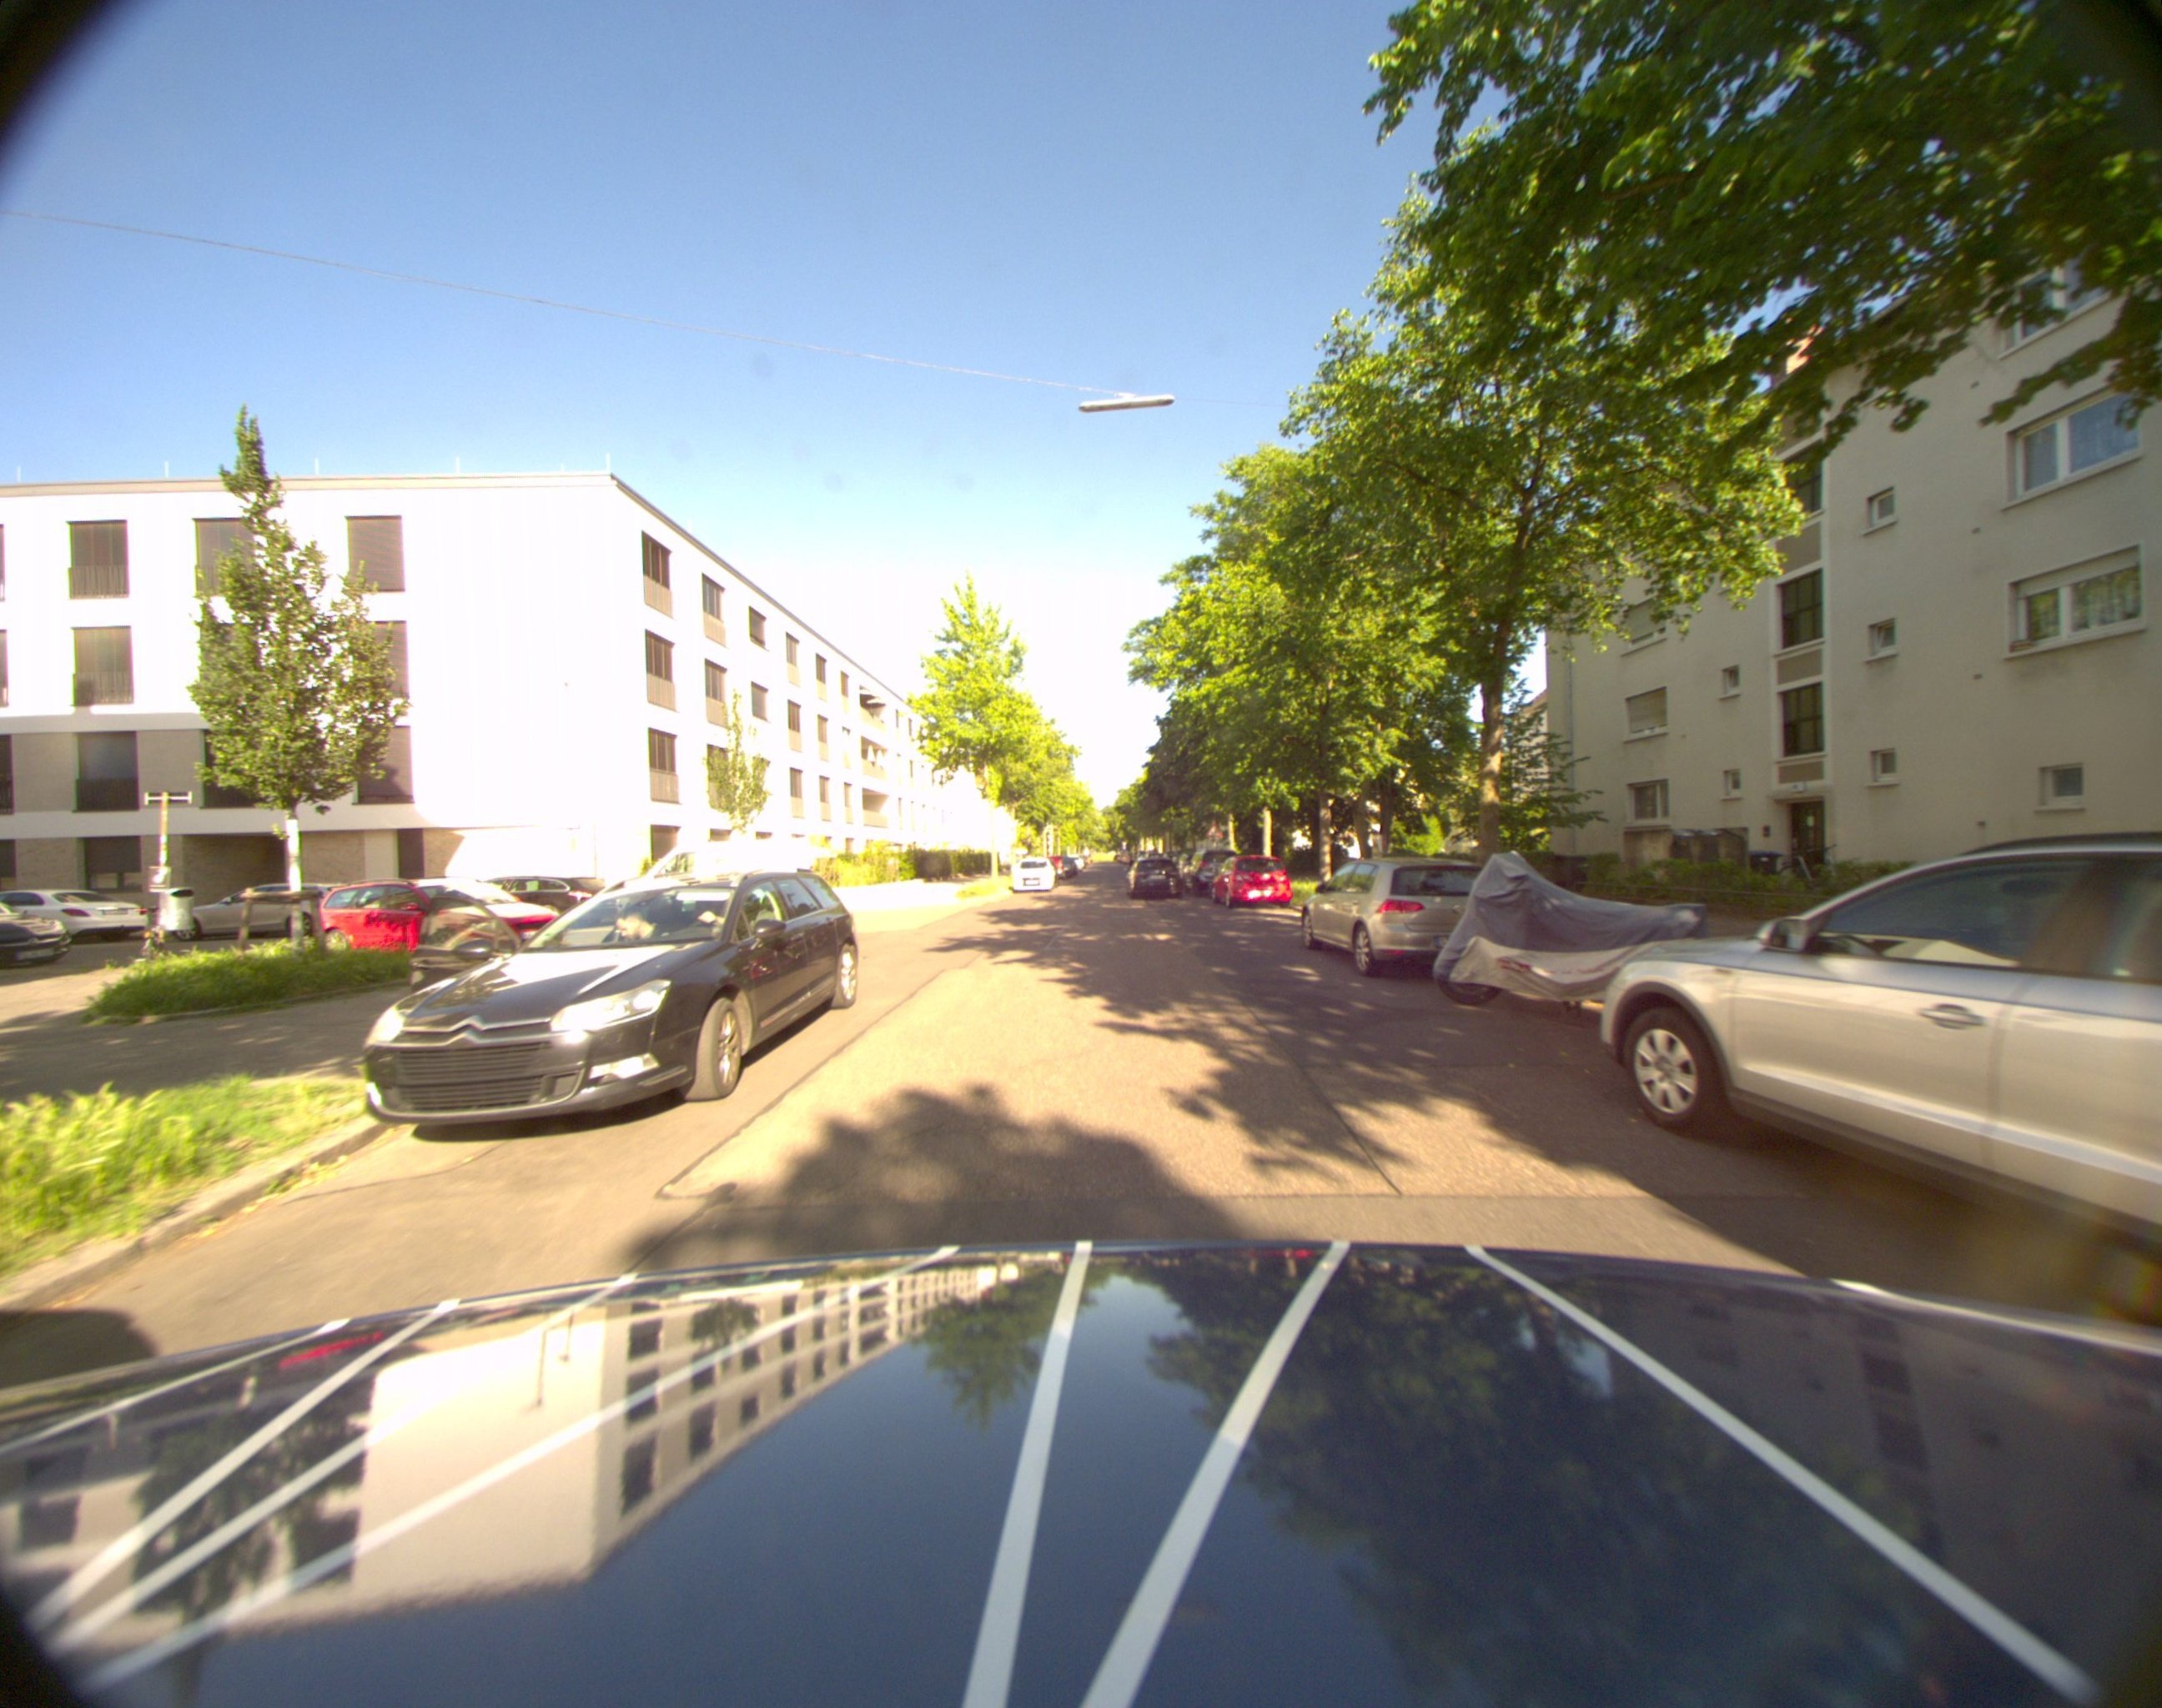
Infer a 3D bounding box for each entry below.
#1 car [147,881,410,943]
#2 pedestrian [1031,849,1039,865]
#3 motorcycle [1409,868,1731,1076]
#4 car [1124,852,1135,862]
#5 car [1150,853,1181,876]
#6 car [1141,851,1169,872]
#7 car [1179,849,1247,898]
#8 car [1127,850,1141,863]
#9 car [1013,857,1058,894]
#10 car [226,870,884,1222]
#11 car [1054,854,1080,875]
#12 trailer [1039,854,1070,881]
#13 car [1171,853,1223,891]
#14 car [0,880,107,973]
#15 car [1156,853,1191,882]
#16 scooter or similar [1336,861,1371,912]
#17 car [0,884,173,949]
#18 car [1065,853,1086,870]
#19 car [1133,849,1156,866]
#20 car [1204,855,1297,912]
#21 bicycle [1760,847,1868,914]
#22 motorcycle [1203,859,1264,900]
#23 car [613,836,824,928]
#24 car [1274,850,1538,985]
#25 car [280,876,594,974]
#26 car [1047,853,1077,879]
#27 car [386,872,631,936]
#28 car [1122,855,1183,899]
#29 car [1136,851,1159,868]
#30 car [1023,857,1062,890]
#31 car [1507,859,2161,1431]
[{"bbox_3d":[-21.200,1.510,20.215,4.940,1.420,1.962,-1,-1,1],"label":"car"},{"bbox_3d":[-5.775,0.387,95.036,0.907,2.002,1.006,-1,1,2],"label":"pedestrian"},{"bbox_3d":[4.267,0.898,6.817,0.991,1.495,2.227,-1,1,-38],"label":"motorcycle"},{"bbox_3d":[7.546,0.453,118.837,1.605,1.382,3.812,-1,0,1],"label":"car"},{"bbox_3d":[5.644,0.692,51.282,1.658,1.496,4.068,-1,0,0],"label":"car"},{"bbox_3d":[5.927,0.555,61.348,1.846,1.647,5.087,-1,0,1],"label":"car"},{"bbox_3d":[4.828,0.660,28.392,1.772,1.678,4.814,-1,0,1],"label":"car"},{"bbox_3d":[7.314,0.326,105.149,1.864,1.718,4.001,0,0,3],"label":"car"},{"bbox_3d":[-2.001,0.899,34.191,1.737,1.478,4.009,-2,0,0],"label":"car"},{"bbox_3d":[-3.265,1.016,6.285,1.900,1.515,4.966,-2,1,0],"label":"car"},{"bbox_3d":[-1.058,0.829,59.995,1.722,1.507,4.345,-2,0,2],"label":"car"},{"bbox_3d":[-1.701,0.840,49.106,1.578,1.569,3.192,-4,0,4],"label":"trailer"},{"bbox_3d":[5.038,0.727,33.626,1.773,1.522,4.420,-1,0,2],"label":"car"},{"bbox_3d":[-21.568,1.378,14.253,4.181,1.631,1.834,-1,1,0],"label":"car"},{"bbox_3d":[5.326,0.727,44.266,1.710,1.568,4.482,-1,0,3],"label":"car"},{"bbox_3d":[7.156,0.830,19.893,0.555,1.228,1.517,-1,1,31],"label":"scooter or similar"},{"bbox_3d":[-27.839,1.686,20.172,4.940,1.461,1.965,-3,0,-1],"label":"car"},{"bbox_3d":[-0.567,0.728,74.169,1.786,1.509,4.686,-2,0,-2],"label":"car"},{"bbox_3d":[6.413,0.367,77.369,1.798,1.676,4.525,-1,0,-2],"label":"car"},{"bbox_3d":[4.806,0.782,22.131,1.861,1.461,4.182,-1,0,2],"label":"car"},{"bbox_3d":[15.144,0.513,15.765,0.399,1.281,1.914,-1,0,1],"label":"bicycle"},{"bbox_3d":[5.095,0.858,25.428,1.956,1.324,0.788,-1,1,9],"label":"motorcycle"},{"bbox_3d":[-9.987,0.706,21.400,5.062,2.292,2.230,-1,0,-22],"label":"car"},{"bbox_3d":[4.348,0.726,11.097,2.047,1.515,4.606,-1,0,3],"label":"car"},{"bbox_3d":[-11.494,1.213,13.630,4.724,1.461,1.955,-1,1,16],"label":"car"},{"bbox_3d":[-1.316,0.813,53.823,1.797,1.633,4.819,-4,0,1],"label":"car"},{"bbox_3d":[-15.107,1.297,20.276,4.940,1.461,2.047,-1,0,0],"label":"car"},{"bbox_3d":[2.510,0.761,27.690,1.813,1.437,4.366,0,0,0],"label":"car"},{"bbox_3d":[6.262,0.494,71.669,1.798,1.443,4.489,-1,0,1],"label":"car"},{"bbox_3d":[-1.902,0.953,38.762,1.674,1.442,4.179,-4,0,0],"label":"car"},{"bbox_3d":[4.000,0.820,2.844,2.069,1.515,4.721,-1,0,-1],"label":"car"}]
